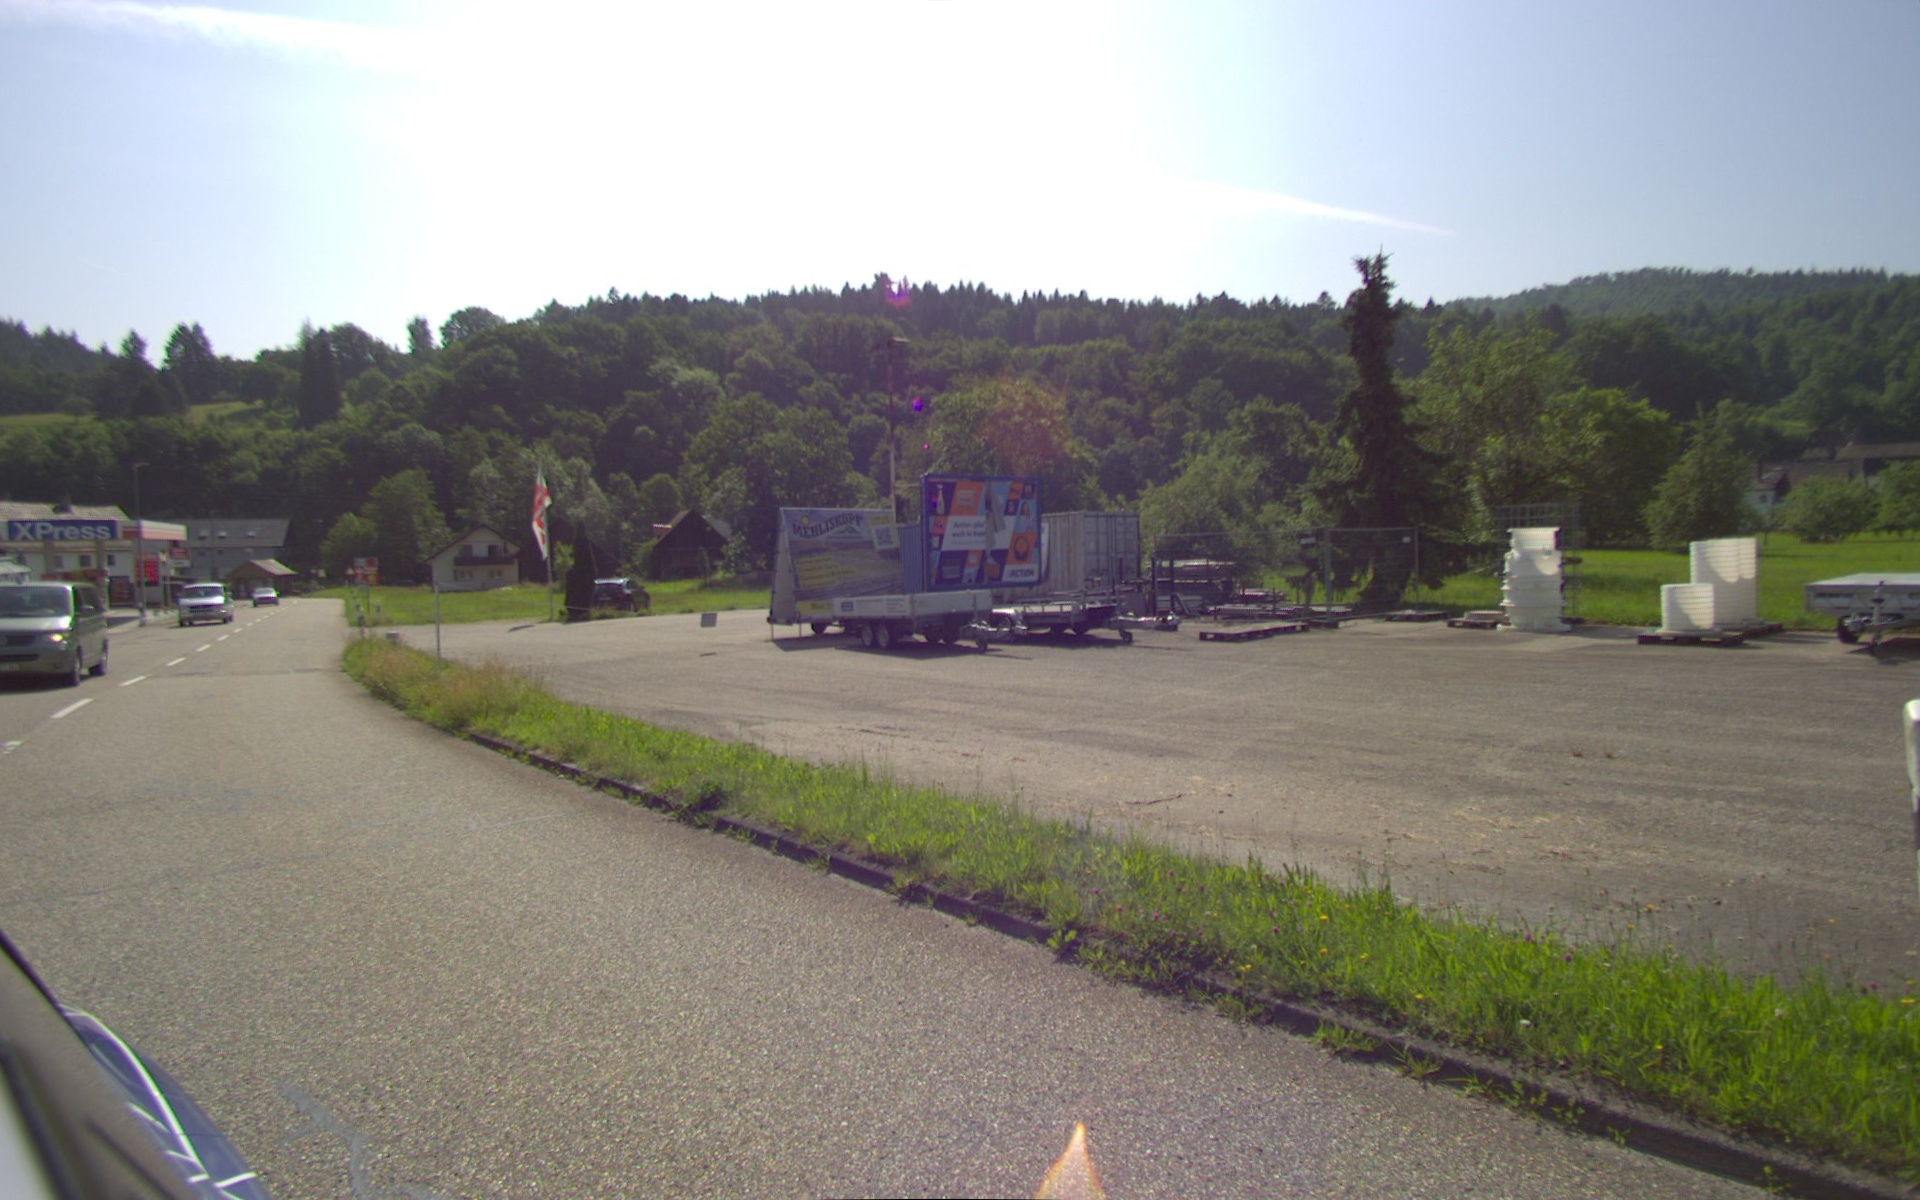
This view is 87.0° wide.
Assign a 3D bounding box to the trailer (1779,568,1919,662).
[{"bbox_3d":[13.082,0.142,13.850,3.880,0.946,1.873,-5,4,-34],"label":"trailer"}]

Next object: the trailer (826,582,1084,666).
[{"bbox_3d":[-0.304,0.346,19.166,1.968,1.235,5.559,-5,3,-36],"label":"trailer"}]

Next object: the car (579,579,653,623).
[{"bbox_3d":[-14.830,-0.011,43.898,1.809,1.661,4.913,-3,2,-4],"label":"car"}]

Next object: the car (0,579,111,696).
[{"bbox_3d":[-17.688,0.619,19.210,1.992,1.997,5.061,0,0,-35],"label":"car"}]

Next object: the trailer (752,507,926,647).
[{"bbox_3d":[-2.763,-0.576,23.309,3.349,2.933,1.887,-5,3,-39],"label":"trailer"}]

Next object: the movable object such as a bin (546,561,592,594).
[{"bbox_3d":[-39.545,-2.306,102.428,4.121,3.160,2.209,-3,2,-17],"label":"movable object such as a bin"}]

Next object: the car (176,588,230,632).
[{"bbox_3d":[-35.680,0.426,47.779,1.866,1.871,4.715,-3,2,-35],"label":"car"}]

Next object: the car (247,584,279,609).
[{"bbox_3d":[-56.518,-0.300,82.115,1.738,1.758,3.993,-4,4,-30],"label":"car"}]

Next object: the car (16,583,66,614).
[{"bbox_3d":[-61.184,-0.153,67.424,1.657,1.829,4.012,-5,4,-32],"label":"car"}]
